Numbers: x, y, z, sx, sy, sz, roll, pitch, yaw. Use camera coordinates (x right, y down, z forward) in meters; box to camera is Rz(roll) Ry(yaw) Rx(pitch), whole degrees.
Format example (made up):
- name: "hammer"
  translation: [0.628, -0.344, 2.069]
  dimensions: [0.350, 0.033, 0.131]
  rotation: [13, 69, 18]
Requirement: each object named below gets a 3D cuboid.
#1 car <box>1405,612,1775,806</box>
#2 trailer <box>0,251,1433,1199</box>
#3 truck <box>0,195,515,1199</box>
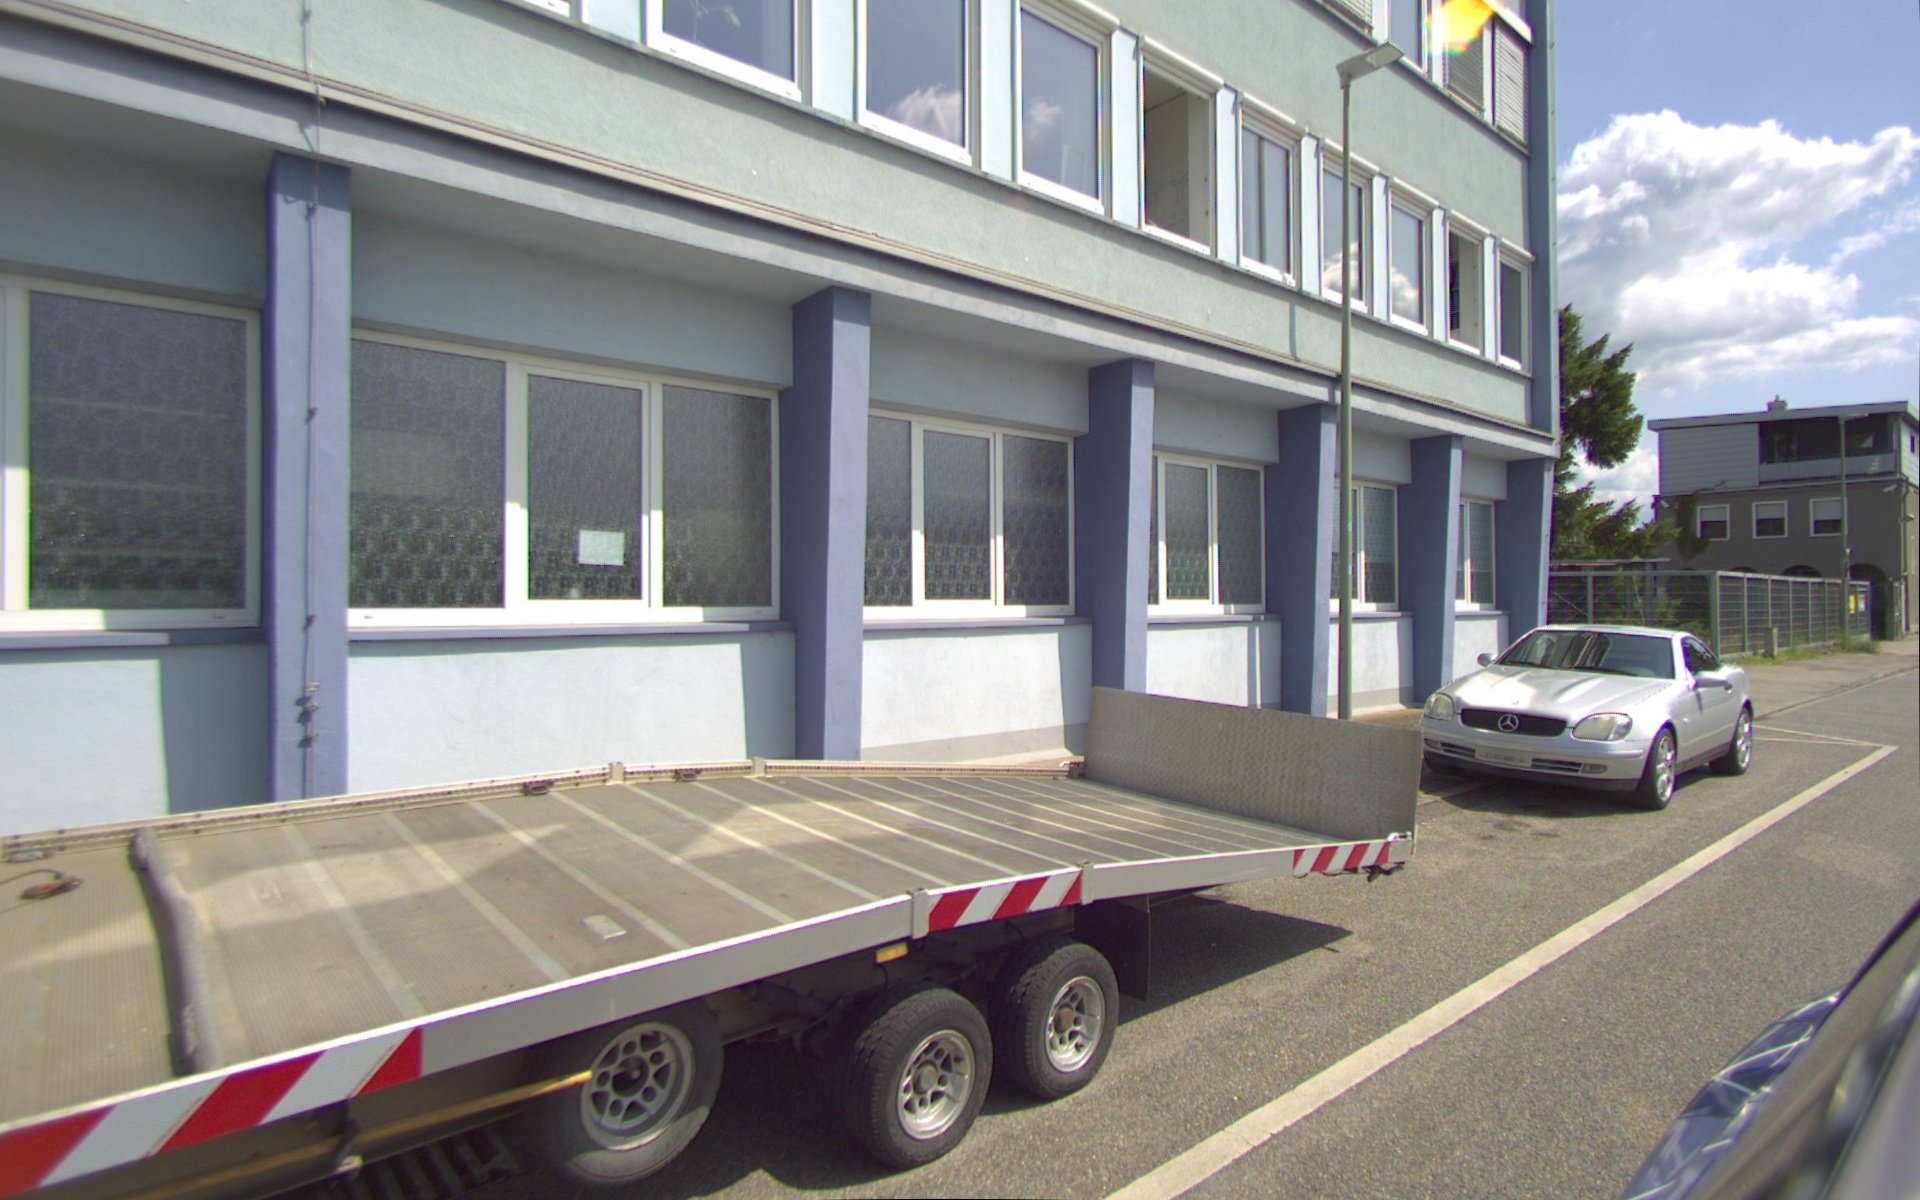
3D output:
- name: "car"
  translation: [5.549, 0.753, 8.722]
  dimensions: [3.930, 1.262, 1.649]
  rotation: [0, 0, -41]
- name: "trailer"
  translation: [-0.541, 0.461, 3.658]
  dimensions: [5.666, 1.996, 1.976]
  rotation: [0, 0, -41]
- name: "truck"
  translation: [-3.253, 0.445, 1.182]
  dimensions: [4.652, 2.061, 1.967]
  rotation: [0, 0, -41]
